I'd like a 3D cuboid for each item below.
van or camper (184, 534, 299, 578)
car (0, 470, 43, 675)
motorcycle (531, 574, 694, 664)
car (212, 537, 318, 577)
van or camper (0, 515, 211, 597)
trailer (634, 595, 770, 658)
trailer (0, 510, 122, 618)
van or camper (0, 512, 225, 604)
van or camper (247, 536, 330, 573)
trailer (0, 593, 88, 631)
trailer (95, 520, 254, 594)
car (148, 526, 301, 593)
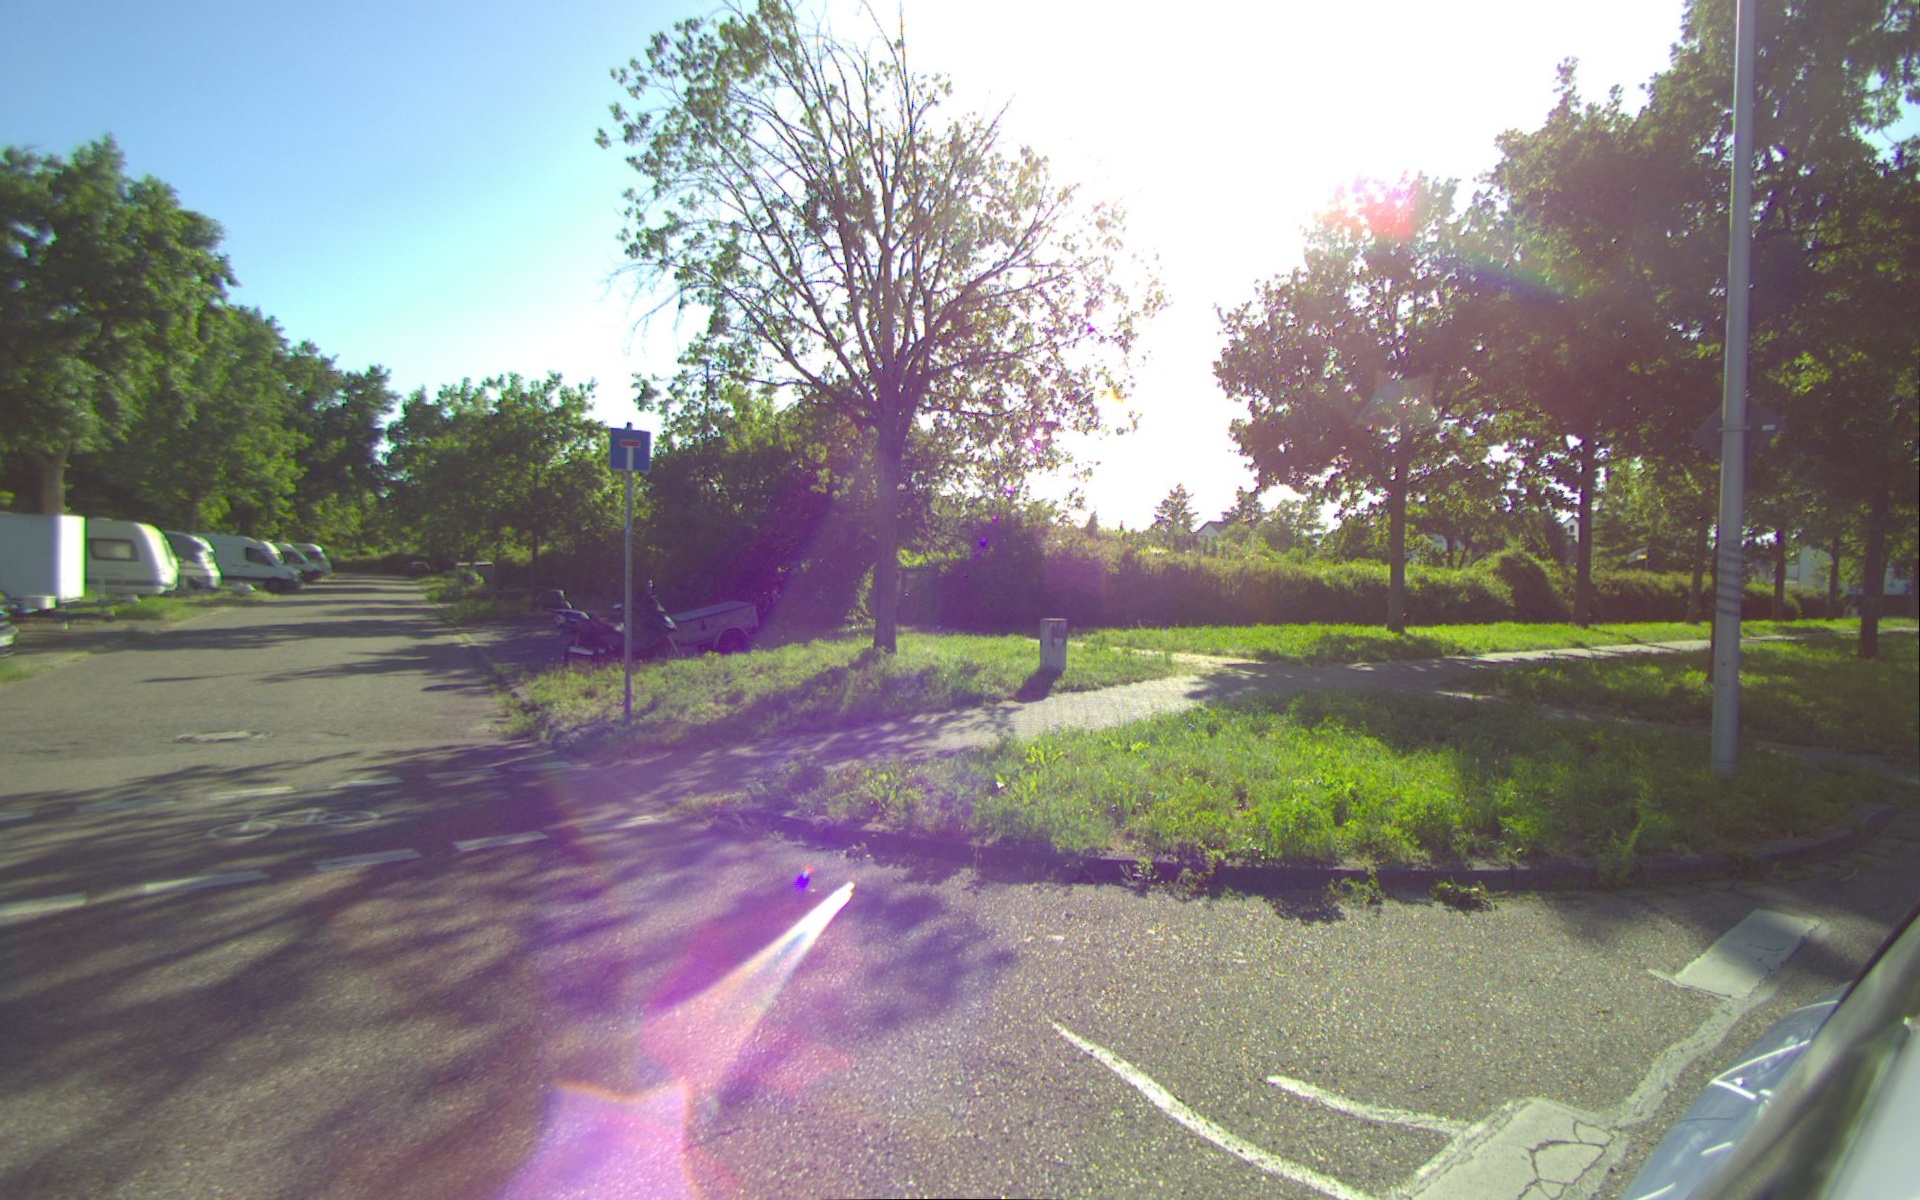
[{"bbox_3d":[-43.685,-2.650,61.688,5.479,2.451,2.191,1,1,-29],"label":"van or camper"},{"bbox_3d":[-14.925,-0.491,11.764,5.850,2.599,2.093,4,-2,-29],"label":"car"},{"bbox_3d":[-5.572,0.272,16.304,2.359,1.246,0.666,-4,4,-29],"label":"motorcycle"},{"bbox_3d":[-44.325,-2.692,64.728,5.463,2.444,2.205,-1,0,-31],"label":"car"},{"bbox_3d":[-29.614,-1.465,34.924,5.799,2.607,2.191,1,1,-29],"label":"van or camper"},{"bbox_3d":[-4.655,0.439,18.187,2.014,0.878,1.586,-4,4,-29],"label":"trailer"},{"bbox_3d":[-21.500,-0.813,22.755,3.713,2.336,2.199,1,1,-29],"label":"trailer"},{"bbox_3d":[-26.694,-1.250,30.858,6.640,2.607,2.191,1,1,-29],"label":"van or camper"},{"bbox_3d":[-54.590,-3.709,82.412,5.480,2.799,2.412,1,1,-30],"label":"van or camper"},{"bbox_3d":[-20.402,0.220,19.771,4.724,0.659,2.239,1,2,-29],"label":"trailer"},{"bbox_3d":[-29.674,-1.602,38.446,4.553,2.607,2.189,0,1,-33],"label":"trailer"},{"bbox_3d":[-34.099,-1.835,47.158,5.568,2.947,2.343,-1,0,-31],"label":"car"}]
